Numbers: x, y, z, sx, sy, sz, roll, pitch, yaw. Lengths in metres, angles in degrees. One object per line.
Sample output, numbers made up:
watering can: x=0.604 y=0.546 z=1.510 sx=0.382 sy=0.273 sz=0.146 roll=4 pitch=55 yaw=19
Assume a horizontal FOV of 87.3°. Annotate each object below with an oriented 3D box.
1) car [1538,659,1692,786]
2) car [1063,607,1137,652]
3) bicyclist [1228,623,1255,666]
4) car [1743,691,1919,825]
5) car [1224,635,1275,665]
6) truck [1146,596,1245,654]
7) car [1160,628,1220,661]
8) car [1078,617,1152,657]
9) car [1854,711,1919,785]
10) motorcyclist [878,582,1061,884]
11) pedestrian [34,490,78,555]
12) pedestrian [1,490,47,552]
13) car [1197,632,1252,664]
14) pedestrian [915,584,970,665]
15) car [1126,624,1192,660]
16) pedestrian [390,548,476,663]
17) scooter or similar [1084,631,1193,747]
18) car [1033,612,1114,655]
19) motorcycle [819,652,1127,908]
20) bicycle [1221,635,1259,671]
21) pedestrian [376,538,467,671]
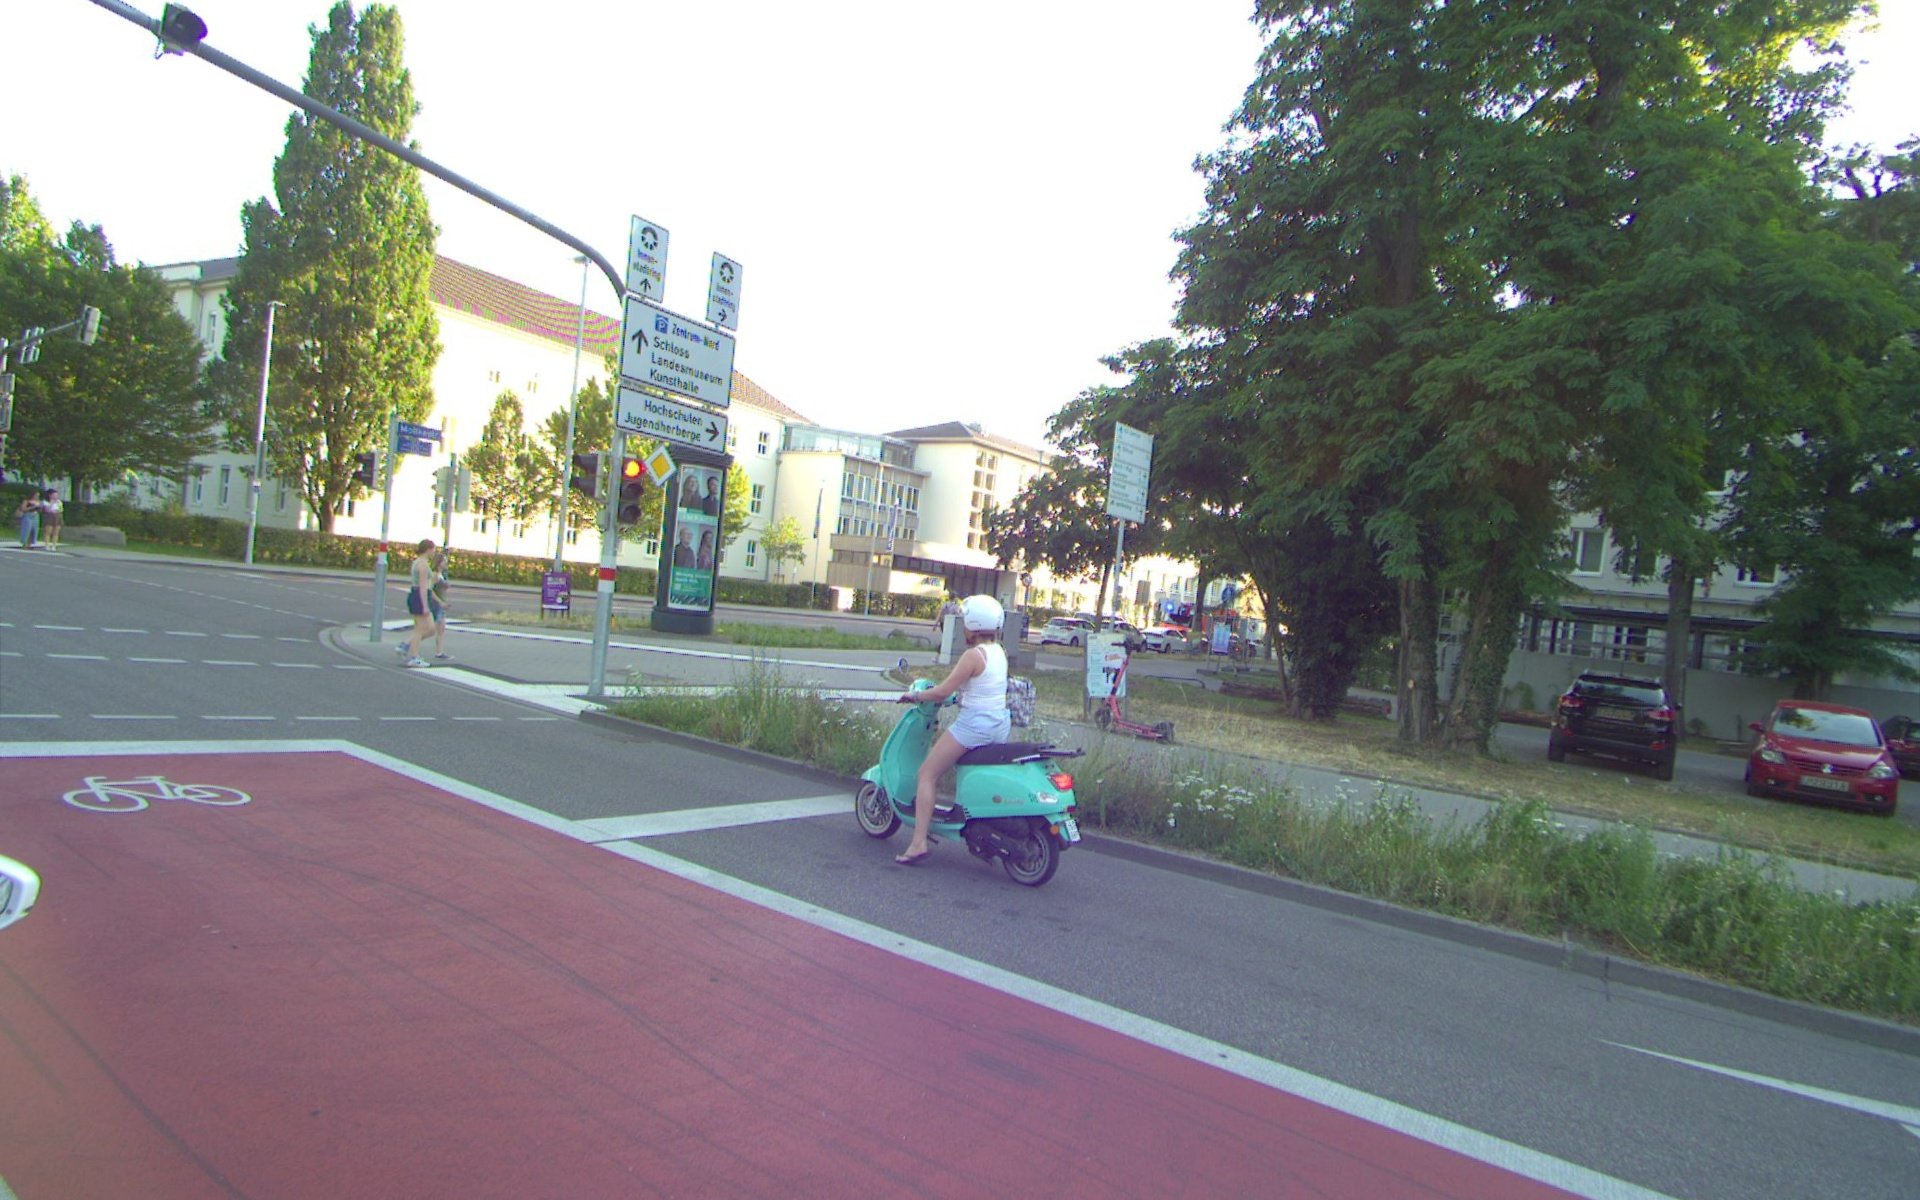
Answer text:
car: x=11.769 y=2.093 z=17.953 sx=1.890 sy=1.762 sz=4.223 roll=7 pitch=0 yaw=37
car: x=7.736 y=1.651 z=55.277 sx=2.024 sy=1.884 sz=4.486 roll=7 pitch=-2 yaw=35
bicyclist: x=11.102 y=1.761 z=39.657 sx=0.563 sy=1.609 sz=0.904 roll=7 pitch=1 yaw=40
car: x=14.051 y=2.423 z=16.375 sx=1.890 sy=1.631 sz=3.984 roll=7 pitch=0 yaw=38
car: x=19.659 y=3.408 z=68.205 sx=1.969 sy=1.660 sz=3.987 roll=7 pitch=0 yaw=35
truck: x=15.928 y=1.779 z=67.367 sx=2.599 sy=3.179 sz=10.243 roll=6 pitch=0 yaw=35
car: x=13.740 y=2.658 z=59.956 sx=1.969 sy=1.660 sz=3.987 roll=7 pitch=0 yaw=35
car: x=7.935 y=1.900 z=51.280 sx=1.970 sy=1.632 sz=3.985 roll=7 pitch=0 yaw=37
car: x=22.996 y=3.587 z=24.042 sx=1.742 sy=1.477 sz=3.618 roll=7 pitch=0 yaw=33
motorcyclist: x=0.066 y=0.823 z=6.494 sx=0.680 sy=1.758 sz=0.737 roll=7 pitch=1 yaw=40
pedestrian: x=-26.169 y=-2.239 z=29.129 sx=0.677 sy=1.776 sz=0.681 roll=8 pitch=2 yaw=31
pedestrian: x=-26.533 y=-2.241 z=28.518 sx=0.831 sy=1.643 sz=0.681 roll=8 pitch=2 yaw=32
car: x=16.736 y=3.037 z=63.528 sx=1.969 sy=1.660 sz=3.987 roll=7 pitch=0 yaw=35
pedestrian: x=-0.399 y=0.573 z=23.425 sx=0.694 sy=1.761 sz=0.892 roll=7 pitch=1 yaw=40
car: x=10.939 y=2.313 z=55.225 sx=1.969 sy=1.660 sz=3.987 roll=7 pitch=0 yaw=35
pedestrian: x=-7.544 y=0.082 z=14.405 sx=0.727 sy=1.542 sz=0.784 roll=7 pitch=2 yaw=44
scooter or similar: x=2.256 y=1.109 z=12.763 sx=1.159 sy=1.288 sz=0.440 roll=7 pitch=1 yaw=31
car: x=5.409 y=1.612 z=47.691 sx=1.872 sy=1.660 sz=3.983 roll=7 pitch=0 yaw=38
motorcycle: x=0.031 y=1.068 z=6.497 sx=1.866 sy=1.212 sz=0.681 roll=7 pitch=0 yaw=40
bicycle: x=11.060 y=2.100 z=39.691 sx=0.563 sy=1.256 sz=1.891 roll=7 pitch=0 yaw=40
pedestrian: x=-7.249 y=0.066 z=13.540 sx=0.712 sy=1.681 sz=0.772 roll=7 pitch=2 yaw=44
